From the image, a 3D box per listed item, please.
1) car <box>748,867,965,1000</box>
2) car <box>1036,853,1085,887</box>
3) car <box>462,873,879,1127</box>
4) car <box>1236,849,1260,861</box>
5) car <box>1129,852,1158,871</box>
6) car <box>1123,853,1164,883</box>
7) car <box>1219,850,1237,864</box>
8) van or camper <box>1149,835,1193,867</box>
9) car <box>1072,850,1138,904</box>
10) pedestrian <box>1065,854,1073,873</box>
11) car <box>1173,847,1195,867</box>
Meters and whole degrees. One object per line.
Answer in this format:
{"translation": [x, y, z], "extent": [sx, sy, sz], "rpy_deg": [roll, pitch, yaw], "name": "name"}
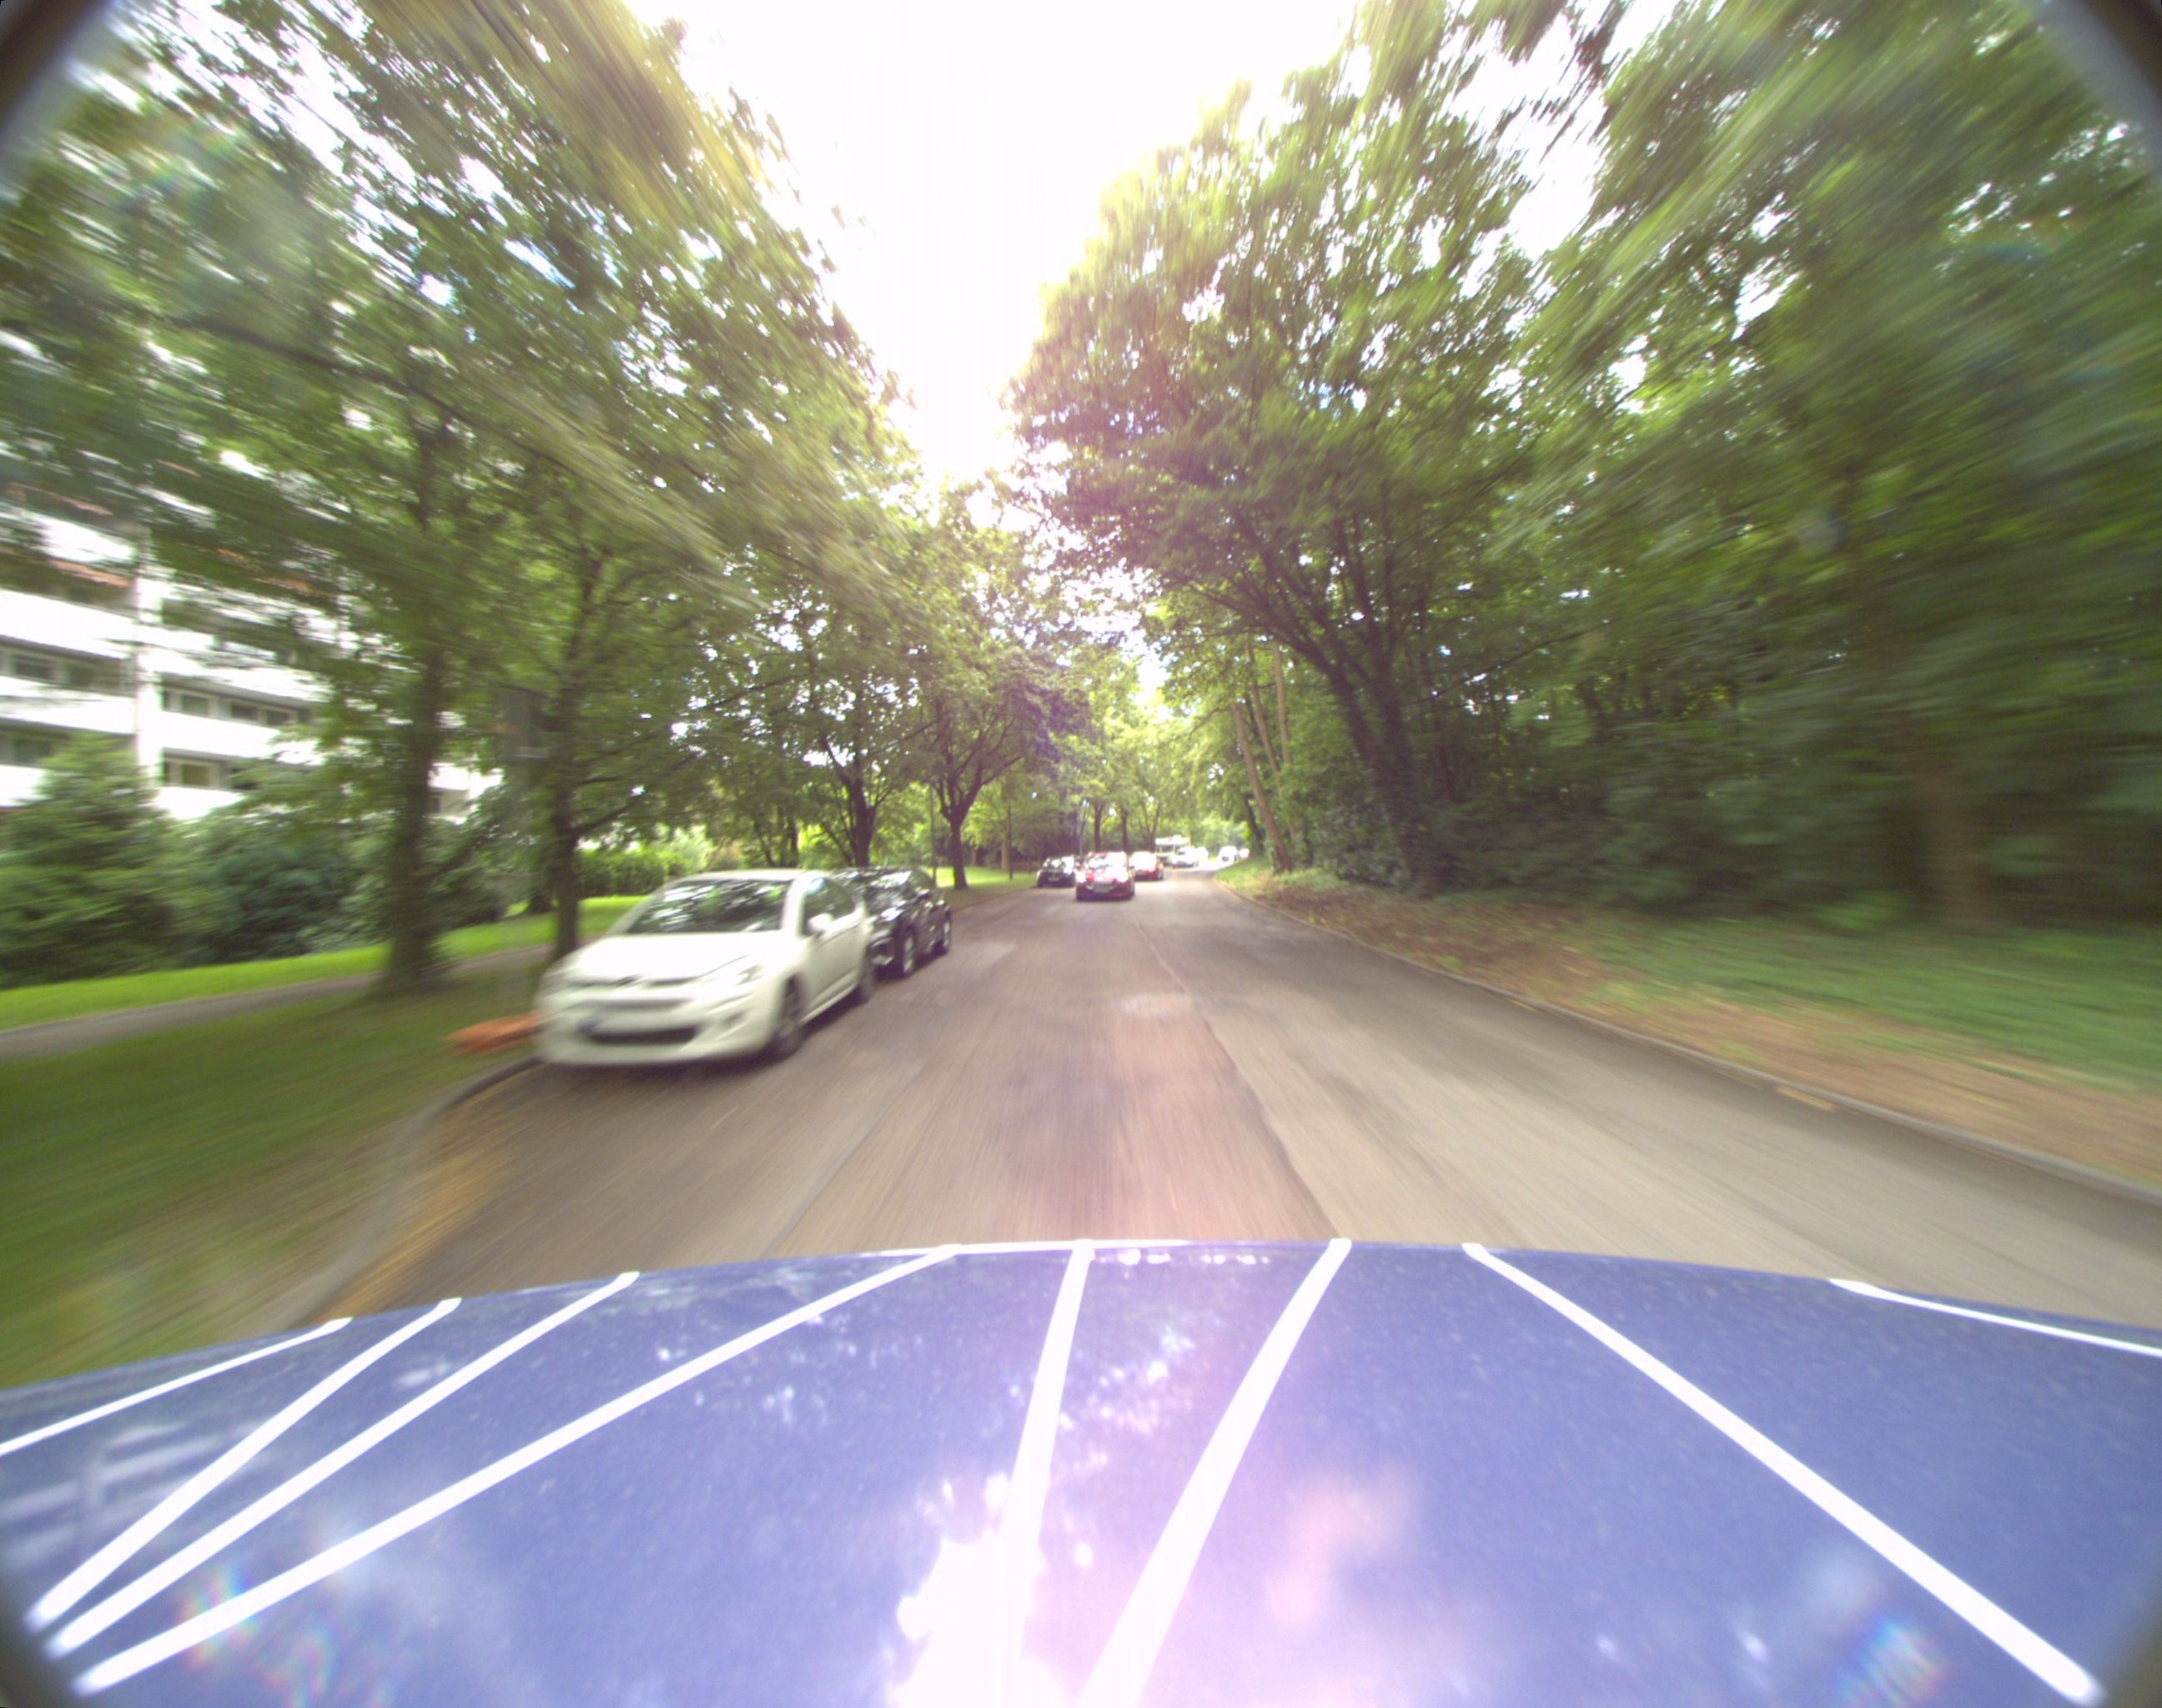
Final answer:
{"translation": [-3.096, 1.017, 11.471], "extent": [1.778, 1.513, 4.184], "rpy_deg": [-3, 0, 3], "name": "car"}
{"translation": [-0.930, 0.710, 36.320], "extent": [1.685, 1.456, 3.900], "rpy_deg": [-3, 0, 7], "name": "car"}
{"translation": [-3.198, 1.001, 6.901], "extent": [1.779, 1.513, 3.780], "rpy_deg": [-3, 0, -2], "name": "car"}
{"translation": [23.075, 0.154, 104.956], "extent": [1.712, 1.543, 4.685], "rpy_deg": [-3, 0, 31], "name": "car"}
{"translation": [5.405, 0.599, 65.466], "extent": [1.691, 1.474, 4.111], "rpy_deg": [-3, 0, 15], "name": "car"}
{"translation": [3.470, 0.705, 41.300], "extent": [1.957, 1.464, 4.680], "rpy_deg": [-3, 0, 7], "name": "car"}
{"translation": [16.710, 0.328, 86.019], "extent": [1.766, 1.559, 4.049], "rpy_deg": [-3, 0, 13], "name": "car"}
{"translation": [9.193, -0.287, 76.793], "extent": [2.427, 2.962, 7.404], "rpy_deg": [-3, 0, 21], "name": "van or camper"}
{"translation": [0.894, 0.742, 26.539], "extent": [2.003, 1.599, 4.678], "rpy_deg": [-3, 0, 3], "name": "car"}
{"translation": [-1.084, 0.822, 68.112], "extent": [0.582, 1.642, 0.873], "rpy_deg": [-3, 0, 6], "name": "pedestrian"}
{"translation": [8.789, 0.257, 65.230], "extent": [1.654, 1.559, 4.047], "rpy_deg": [-3, 0, 6], "name": "car"}
